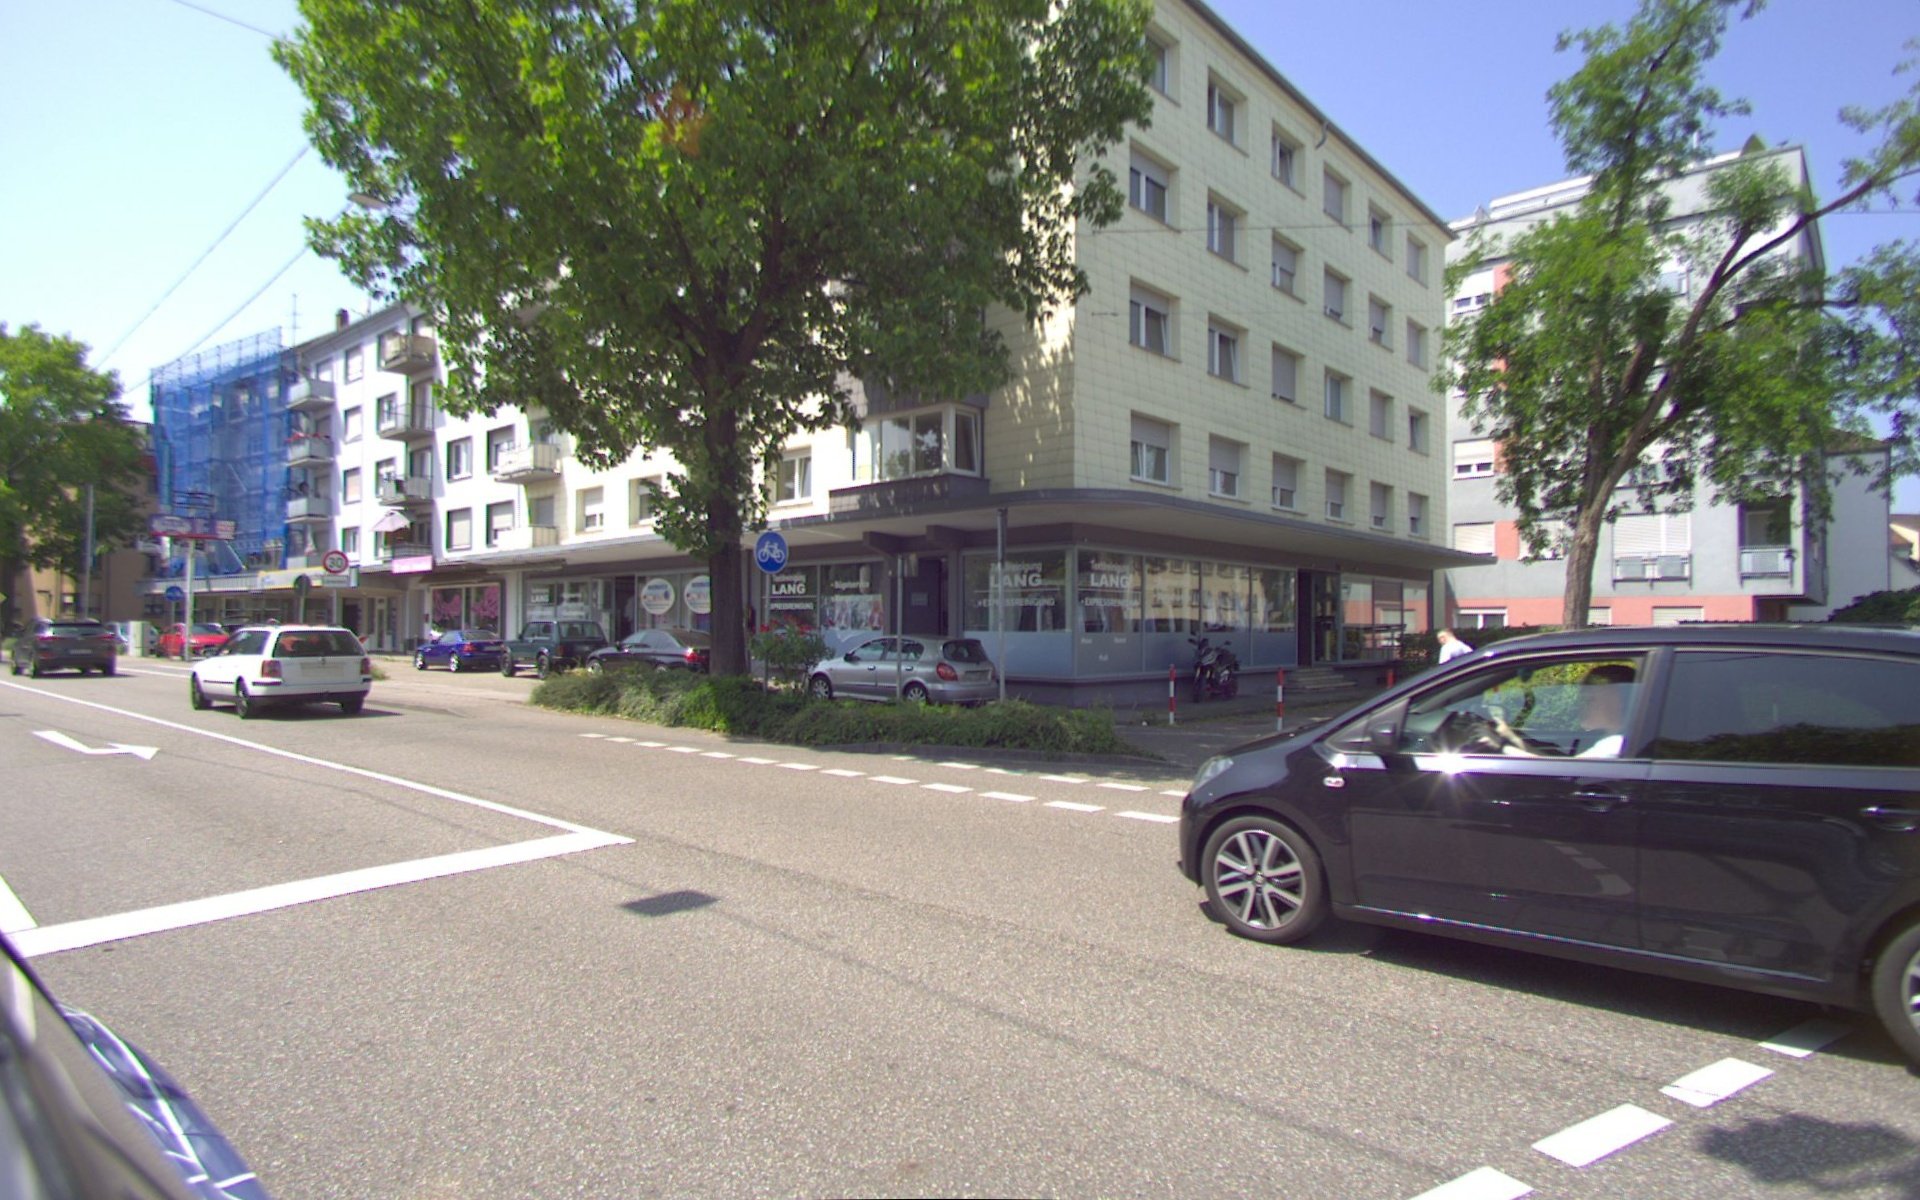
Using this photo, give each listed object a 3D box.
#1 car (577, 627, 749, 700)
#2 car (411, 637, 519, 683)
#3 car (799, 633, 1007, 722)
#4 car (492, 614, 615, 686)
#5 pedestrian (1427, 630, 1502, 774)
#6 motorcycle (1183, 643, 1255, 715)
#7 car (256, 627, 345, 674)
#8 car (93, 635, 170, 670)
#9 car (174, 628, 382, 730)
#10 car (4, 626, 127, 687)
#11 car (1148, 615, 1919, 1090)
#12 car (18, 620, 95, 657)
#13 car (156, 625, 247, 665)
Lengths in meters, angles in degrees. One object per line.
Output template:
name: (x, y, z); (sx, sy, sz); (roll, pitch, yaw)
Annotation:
car: (-7.149, 1.443, 24.109); (4.837, 1.581, 1.605); (-1, -2, 41)
car: (-15.575, 1.835, 31.770); (3.859, 1.296, 1.682); (-1, -2, 41)
car: (-1.134, 1.365, 18.908); (3.938, 1.470, 1.566); (-1, -2, 41)
car: (-11.378, 1.361, 28.221); (3.858, 1.853, 1.622); (-2, -2, 41)
pedestrian: (6.523, 1.289, 13.084); (0.742, 1.773, 0.620); (0, -2, 41)
motorcycle: (5.645, 1.690, 21.982); (0.714, 1.431, 1.894); (0, 0, 42)
car: (-22.332, 1.678, 34.221); (3.633, 1.479, 1.617); (-1, -3, 42)
car: (-38.682, 2.411, 47.203); (4.328, 1.531, 1.889); (-2, -3, 38)
car: (-11.779, 1.245, 17.359); (4.628, 1.530, 1.796); (-1, -2, 41)
car: (-26.085, 1.622, 29.485); (4.221, 1.651, 1.960); (-2, -3, 39)
car: (2.842, 0.824, 4.295); (3.706, 1.467, 1.599); (-2, -3, 40)
car: (-46.611, 1.993, 52.174); (4.321, 1.819, 1.892); (-1, -3, 33)
car: (-30.604, 1.805, 40.794); (4.328, 1.531, 1.889); (-2, -3, 38)
